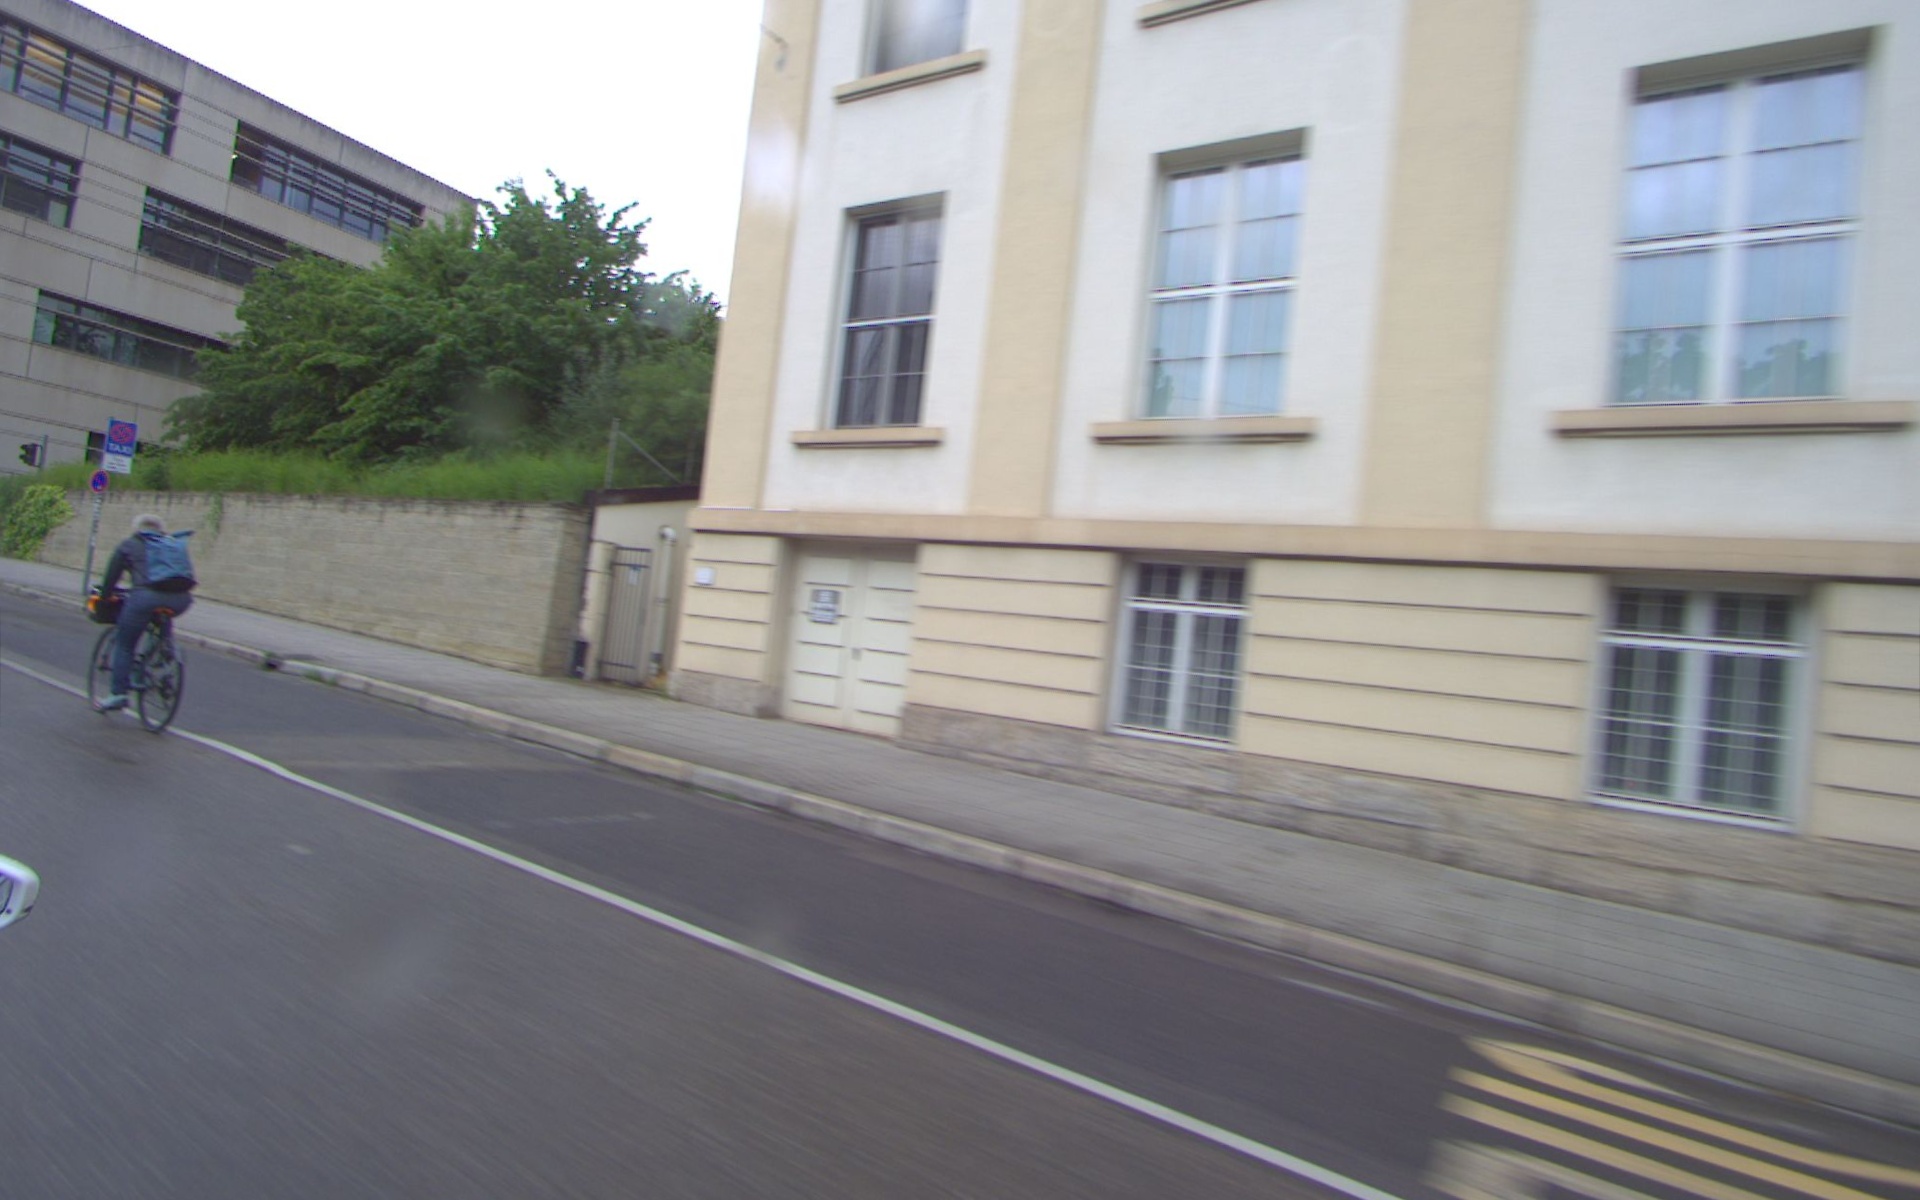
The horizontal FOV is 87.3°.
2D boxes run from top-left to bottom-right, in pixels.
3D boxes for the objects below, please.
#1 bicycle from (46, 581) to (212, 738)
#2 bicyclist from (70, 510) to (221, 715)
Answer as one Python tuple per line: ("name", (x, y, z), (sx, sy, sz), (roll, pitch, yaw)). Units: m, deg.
("bicycle", (-6.493, 0.439, 7.833), (1.663, 0.974, 0.448), (7, -2, 34))
("bicyclist", (-6.276, 0.086, 7.746), (0.915, 1.448, 0.485), (6, -3, 34))
